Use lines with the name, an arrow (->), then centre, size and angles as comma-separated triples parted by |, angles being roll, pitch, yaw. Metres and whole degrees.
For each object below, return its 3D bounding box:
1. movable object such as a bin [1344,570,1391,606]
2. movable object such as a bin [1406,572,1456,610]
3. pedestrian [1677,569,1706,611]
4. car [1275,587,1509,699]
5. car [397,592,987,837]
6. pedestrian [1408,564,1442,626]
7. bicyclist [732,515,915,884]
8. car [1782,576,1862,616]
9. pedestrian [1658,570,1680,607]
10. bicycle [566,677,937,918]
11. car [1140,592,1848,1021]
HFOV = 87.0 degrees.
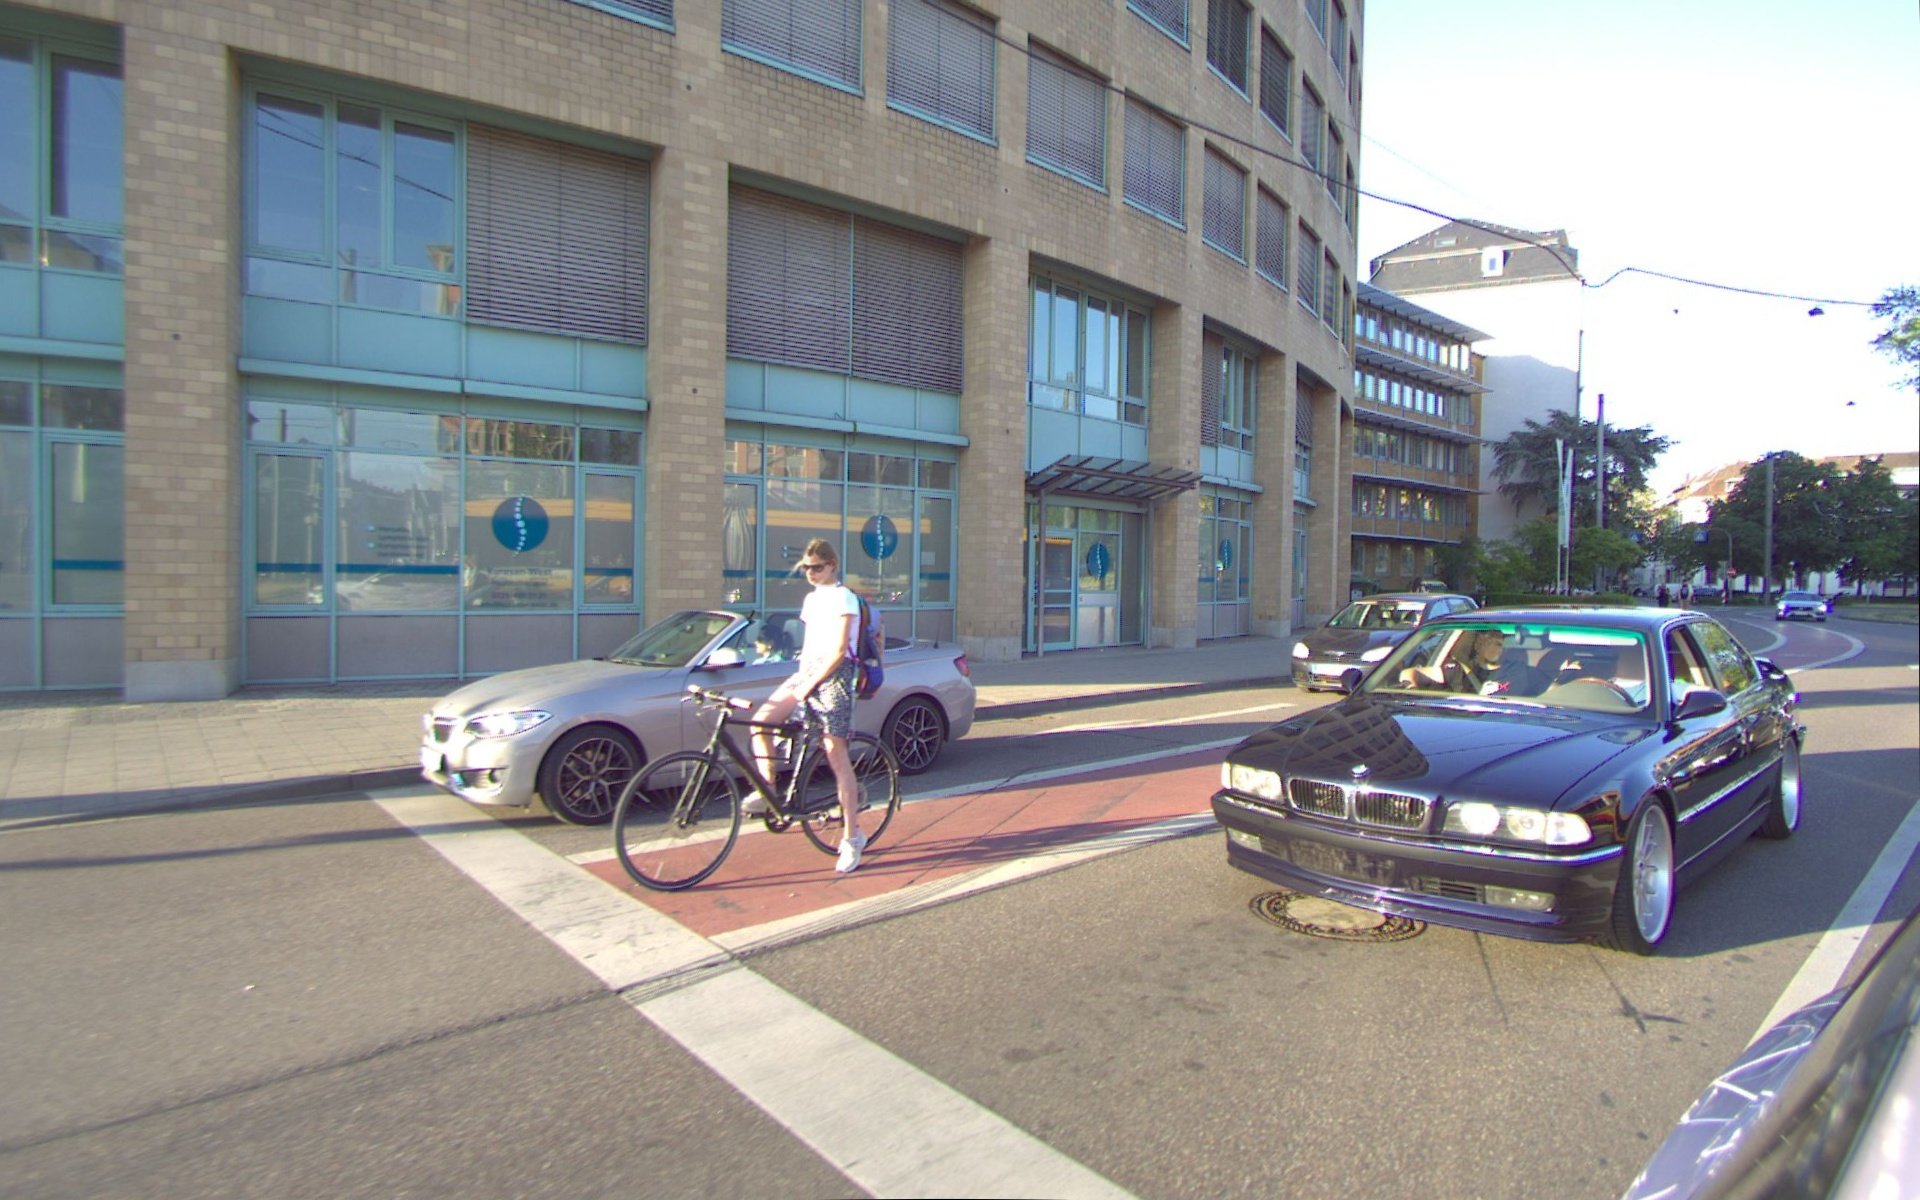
movable object such as a bin -> 17.393, -0.534, 43.166 | 1.311, 1.477, 1.425 | -1, 2, -43
movable object such as a bin -> 18.867, -0.379, 40.556 | 1.311, 1.477, 1.424 | -1, 2, -45
pedestrian -> 34.351, -0.471, 47.530 | 0.902, 1.918, 1.117 | 1, 1, 25
car -> 6.545, 0.540, 15.153 | 3.932, 1.404, 1.757 | -1, 2, -42
car -> -1.910, 0.658, 7.954 | 4.153, 1.402, 1.747 | -1, 1, -40
pedestrian -> 12.891, -0.143, 28.077 | 0.702, 1.702, 0.626 | -1, 2, -44
bicyclist -> -0.748, 0.486, 5.535 | 0.764, 1.843, 0.634 | 0, 1, -42
car -> 41.160, -0.221, 48.307 | 3.925, 1.771, 2.000 | -1, 2, -36
pedestrian -> 35.416, -0.565, 50.523 | 0.711, 1.830, 0.728 | 0, 1, -41
bicycle -> -1.021, 0.932, 5.293 | 1.838, 0.884, 0.634 | -1, 2, -42
car -> 3.277, 0.681, 5.708 | 4.657, 1.402, 1.997 | -1, 1, -41
